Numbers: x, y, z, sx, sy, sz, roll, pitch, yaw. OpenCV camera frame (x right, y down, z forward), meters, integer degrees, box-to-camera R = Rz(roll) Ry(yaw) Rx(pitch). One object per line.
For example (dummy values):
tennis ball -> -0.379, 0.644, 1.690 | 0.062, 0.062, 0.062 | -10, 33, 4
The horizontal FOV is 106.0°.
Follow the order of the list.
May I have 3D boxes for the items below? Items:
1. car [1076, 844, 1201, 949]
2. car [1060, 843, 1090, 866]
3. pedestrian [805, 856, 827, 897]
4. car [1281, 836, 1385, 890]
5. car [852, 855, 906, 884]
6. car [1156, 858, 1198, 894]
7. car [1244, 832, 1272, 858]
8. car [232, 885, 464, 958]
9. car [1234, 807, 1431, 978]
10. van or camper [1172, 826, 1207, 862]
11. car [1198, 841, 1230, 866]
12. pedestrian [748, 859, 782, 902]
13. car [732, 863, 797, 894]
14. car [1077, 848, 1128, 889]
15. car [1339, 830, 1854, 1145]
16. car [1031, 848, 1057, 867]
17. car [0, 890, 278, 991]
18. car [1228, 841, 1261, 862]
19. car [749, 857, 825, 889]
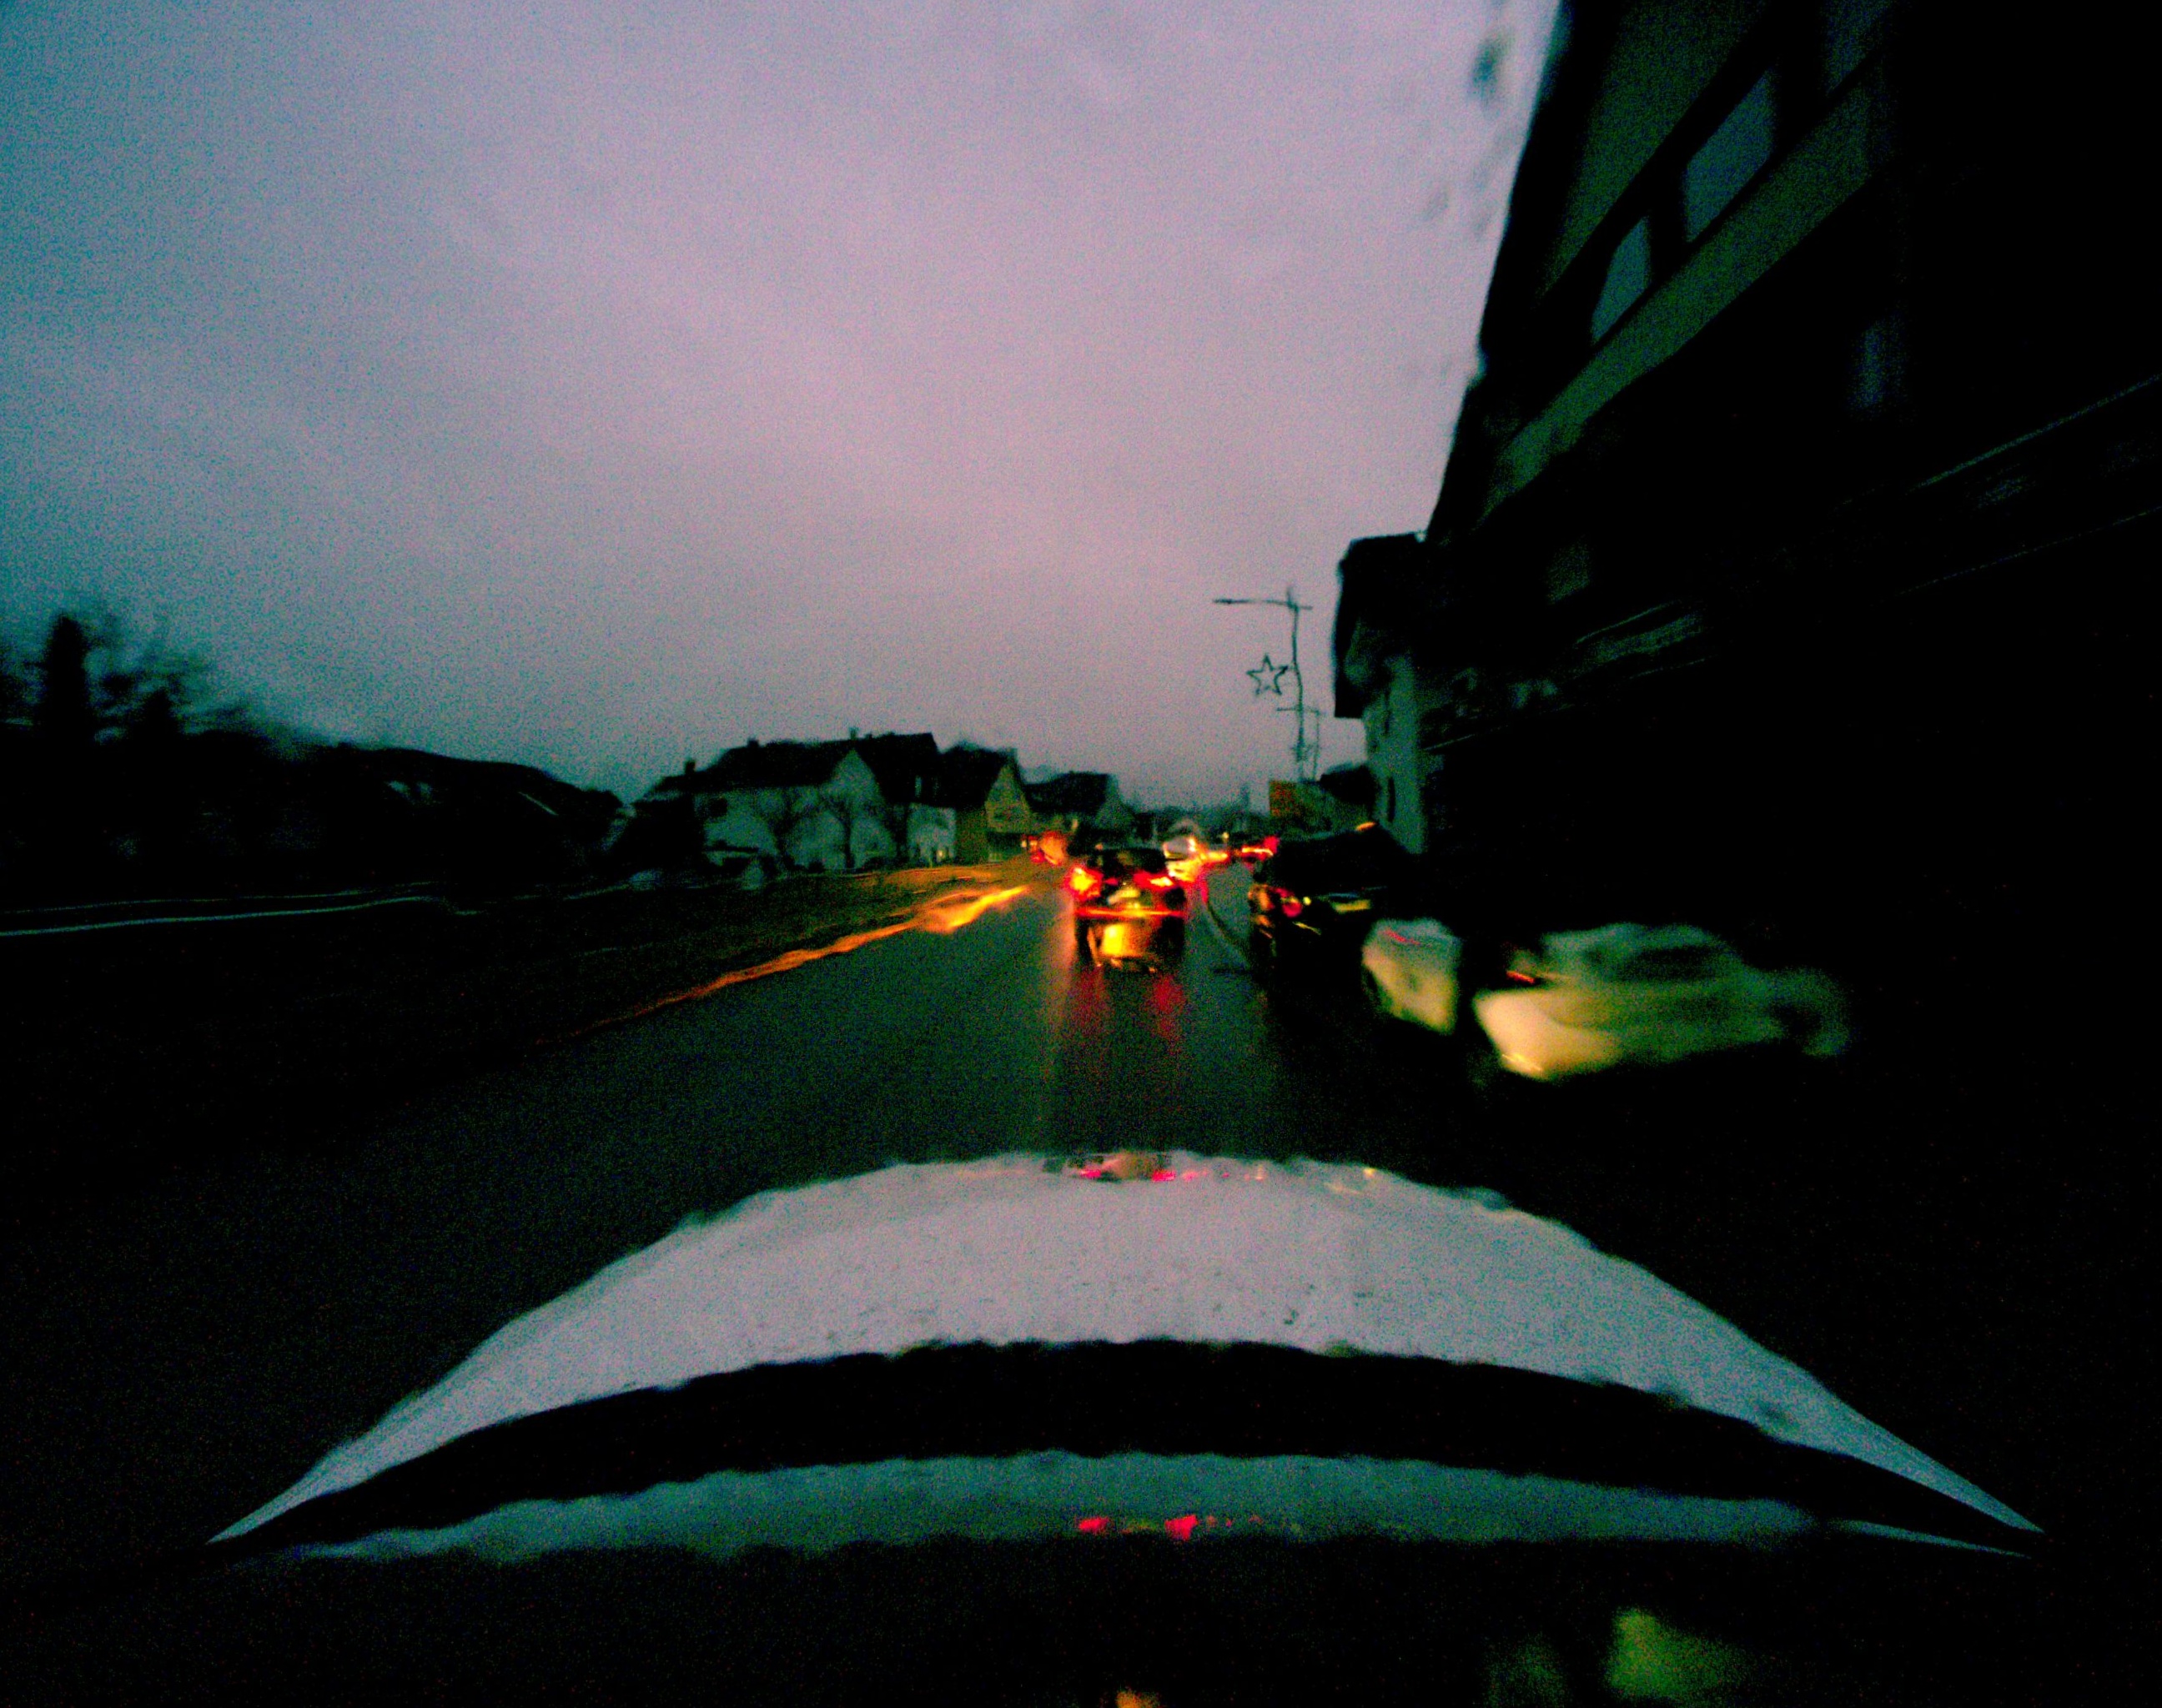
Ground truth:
car -> 0.941, 0.648, 15.102 | 1.958, 1.594, 4.314 | -1, 1, 1
car -> -0.598, 0.021, 73.710 | 2.038, 1.925, 4.043 | -3, 1, -10
pedestrian -> -11.224, 0.944, 34.465 | 0.659, 1.697, 0.543 | -1, 0, 12
car -> 7.607, 0.253, 24.971 | 1.761, 1.393, 3.910 | -4, 0, -2
car -> -13.643, 1.012, 55.302 | 1.898, 1.682, 4.231 | -3, 1, 11
car -> 4.139, 0.906, 35.227 | 1.674, 1.453, 4.007 | -2, 0, 6
car -> 15.883, -0.811, 72.943 | 2.143, 1.991, 4.515 | -6, -1, 13
car -> -19.747, 1.742, 22.284 | 1.864, 1.433, 4.510 | -4, 1, 6
car -> 3.186, 0.425, 11.141 | 1.760, 1.782, 4.008 | -5, 0, 7
van or camper -> 8.894, -0.805, 66.373 | 2.225, 2.669, 6.578 | -3, 0, 12
car -> 8.432, -0.043, 51.333 | 1.802, 1.412, 4.013 | -1, 1, 12
pedestrian -> -13.474, 1.105, 34.743 | 0.921, 1.784, 0.976 | -1, -1, 13
car -> -16.426, 1.254, 42.457 | 1.473, 1.427, 3.470 | -2, 0, 11
car -> 0.988, 0.599, 35.676 | 1.652, 1.635, 3.561 | -2, 0, 10
car -> 2.935, 0.639, 5.330 | 1.639, 1.415, 2.729 | -5, 0, 3
car -> -3.419, 0.275, 74.344 | 1.822, 1.613, 4.043 | -3, 1, -10
car -> -20.439, 1.747, 17.332 | 1.864, 1.572, 4.510 | -4, 1, 6
car -> 12.597, -0.213, 62.641 | 1.978, 1.391, 4.018 | -2, 1, 17
car -> -18.471, 1.168, 51.259 | 3.964, 1.694, 1.869 | -4, 0, 8
